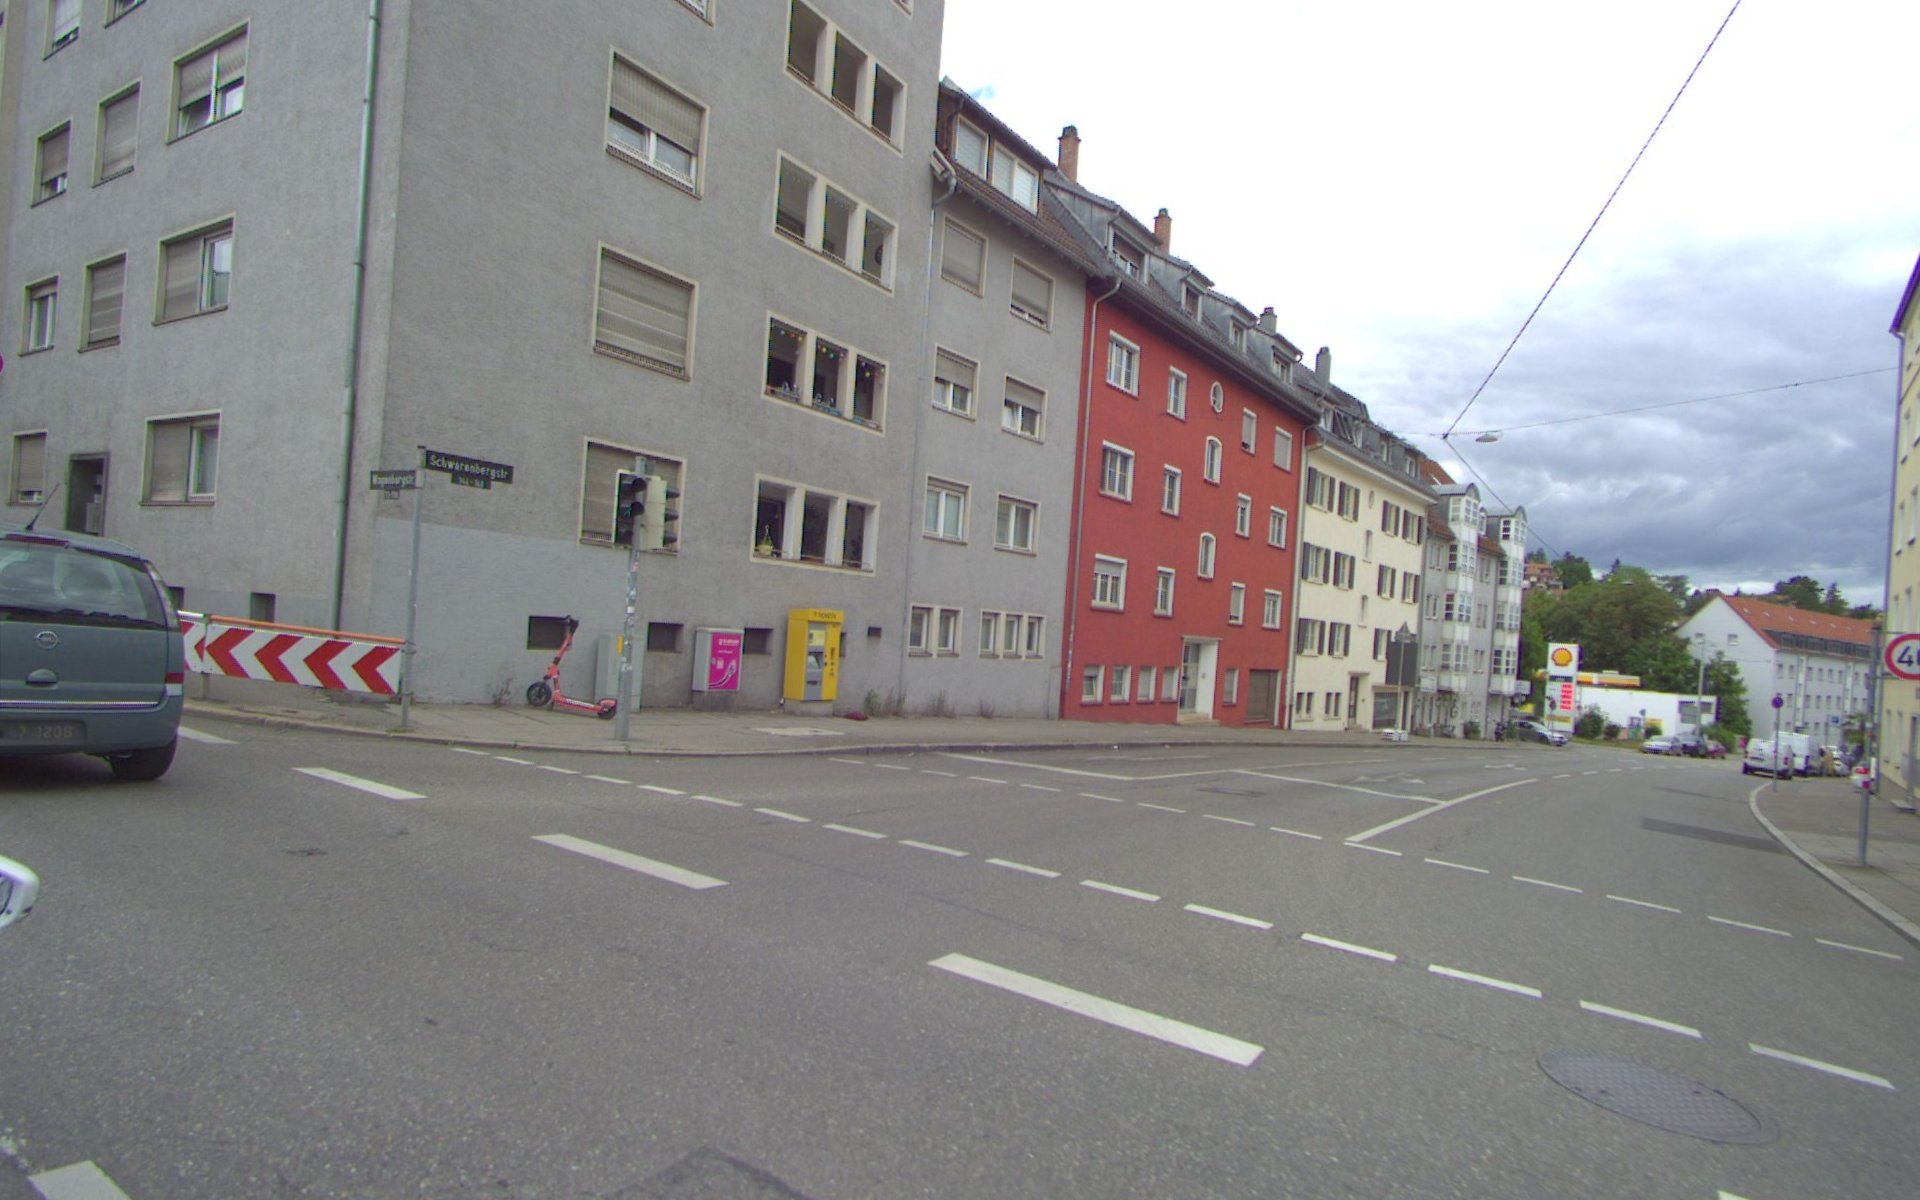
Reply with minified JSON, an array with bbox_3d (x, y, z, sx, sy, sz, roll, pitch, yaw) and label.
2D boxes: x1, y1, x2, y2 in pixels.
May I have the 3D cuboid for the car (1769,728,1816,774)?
[{"bbox_3d":[50.354,9.091,60.905,1.842,2.259,3.982,7,1,38],"label":"car"}]

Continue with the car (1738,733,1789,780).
[{"bbox_3d":[42.589,8.254,53.355,1.842,1.884,3.982,7,1,38],"label":"car"}]

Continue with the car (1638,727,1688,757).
[{"bbox_3d":[51.603,10.450,73.857,3.970,1.789,1.857,8,-2,-39],"label":"car"}]

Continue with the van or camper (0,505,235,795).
[{"bbox_3d":[-6.711,0.184,6.663,3.586,1.596,1.738,5,-2,32],"label":"van or camper"}]

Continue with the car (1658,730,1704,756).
[{"bbox_3d":[55.226,10.954,77.057,3.972,1.638,1.855,8,-2,-41],"label":"car"}]

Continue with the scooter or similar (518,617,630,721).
[{"bbox_3d":[-5.136,0.914,13.418,1.239,1.231,0.598,7,-1,-22],"label":"scooter or similar"}]

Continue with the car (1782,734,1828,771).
[{"bbox_3d":[61.083,11.049,72.705,4.040,2.309,1.976,9,-2,-44],"label":"car"}]

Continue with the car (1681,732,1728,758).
[{"bbox_3d":[59.164,11.521,79.922,3.967,1.638,1.858,8,-2,-37],"label":"car"}]

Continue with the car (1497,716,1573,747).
[{"bbox_3d":[39.551,9.018,69.248,1.981,1.453,3.967,8,-2,-33],"label":"car"}]

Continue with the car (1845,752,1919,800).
[{"bbox_3d":[36.820,6.941,39.133,3.452,1.414,1.770,6,-2,43],"label":"car"}]
